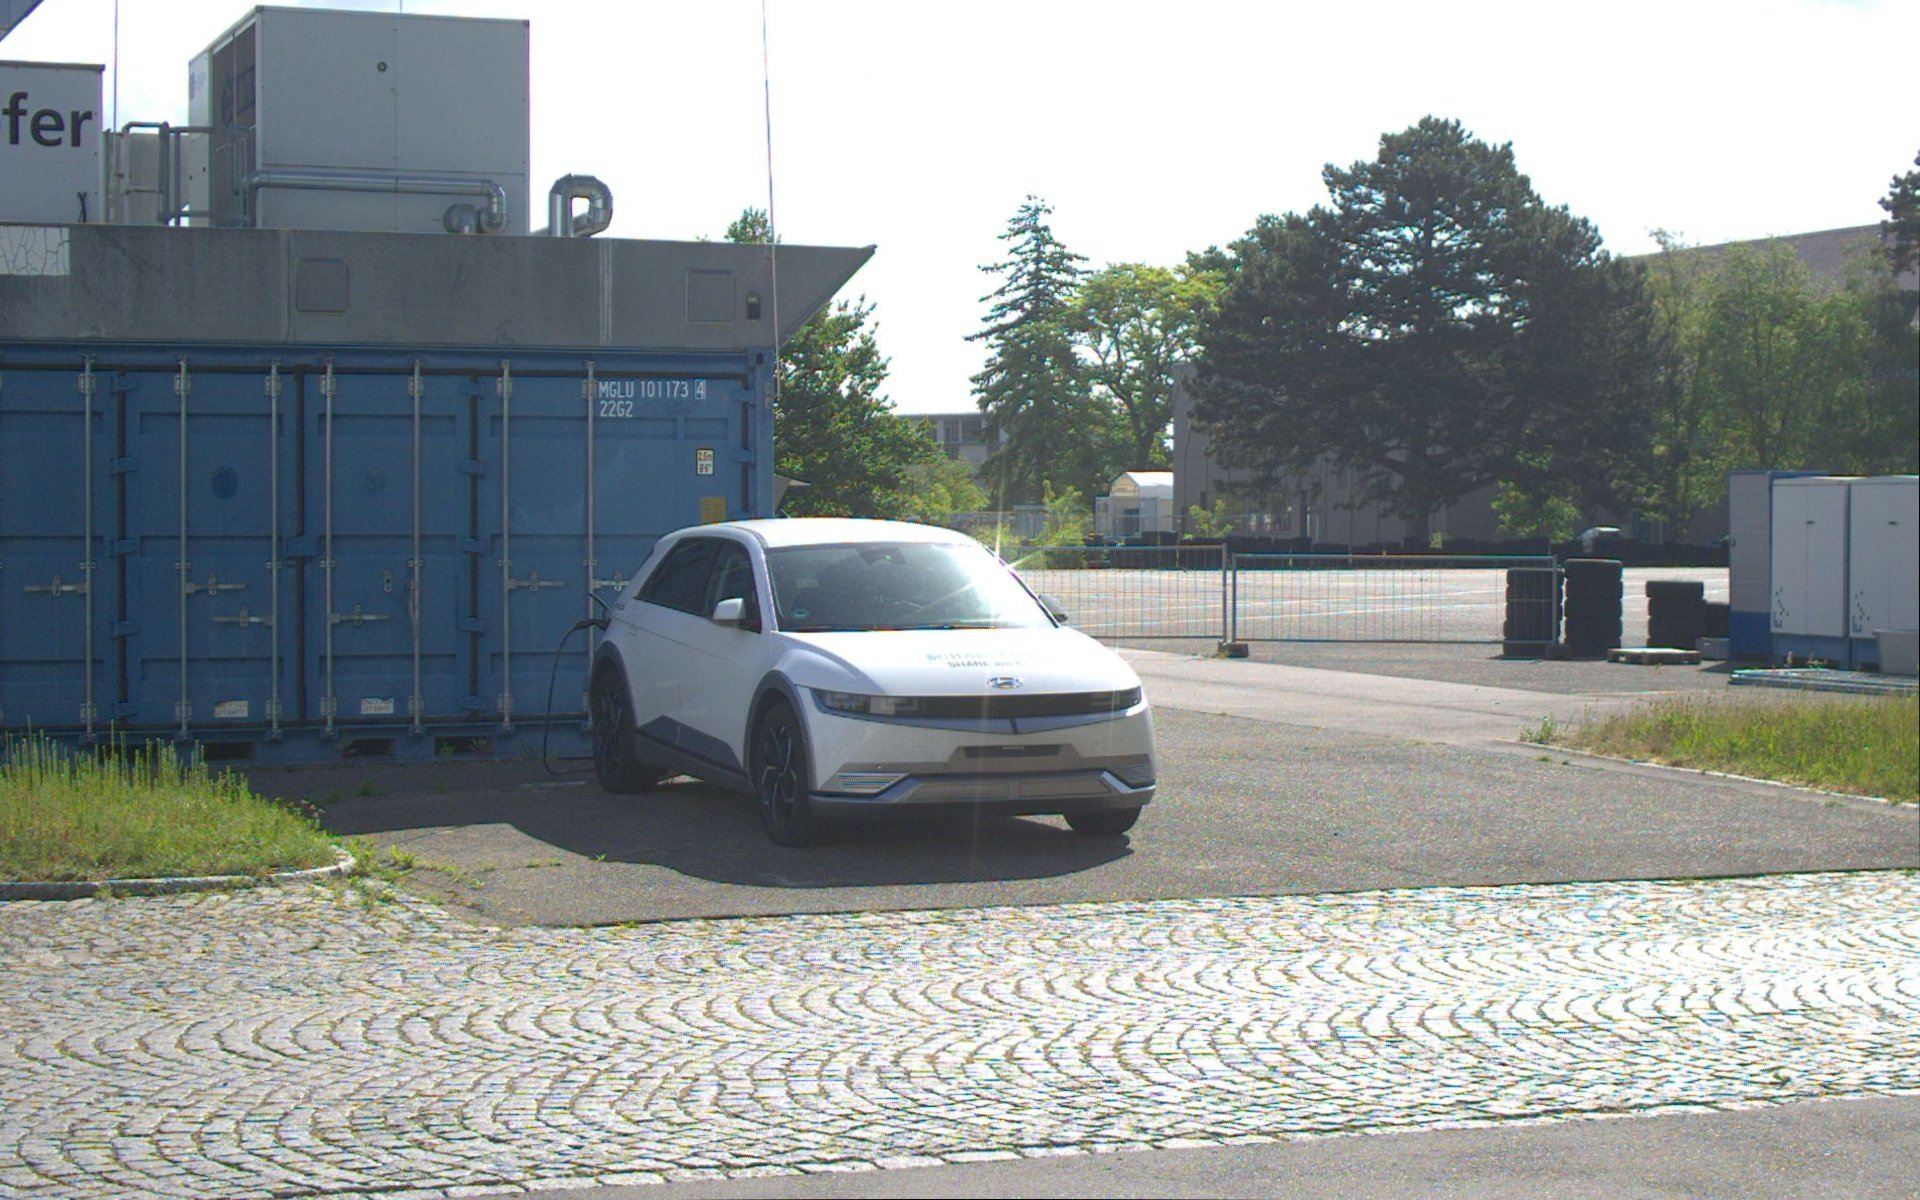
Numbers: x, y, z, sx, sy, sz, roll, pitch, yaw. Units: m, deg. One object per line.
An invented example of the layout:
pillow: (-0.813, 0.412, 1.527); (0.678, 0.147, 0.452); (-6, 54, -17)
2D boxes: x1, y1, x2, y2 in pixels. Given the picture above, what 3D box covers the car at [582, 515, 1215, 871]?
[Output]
car: (-0.485, 0.385, 18.543); (1.980, 1.588, 4.342); (0, 2, -22)
